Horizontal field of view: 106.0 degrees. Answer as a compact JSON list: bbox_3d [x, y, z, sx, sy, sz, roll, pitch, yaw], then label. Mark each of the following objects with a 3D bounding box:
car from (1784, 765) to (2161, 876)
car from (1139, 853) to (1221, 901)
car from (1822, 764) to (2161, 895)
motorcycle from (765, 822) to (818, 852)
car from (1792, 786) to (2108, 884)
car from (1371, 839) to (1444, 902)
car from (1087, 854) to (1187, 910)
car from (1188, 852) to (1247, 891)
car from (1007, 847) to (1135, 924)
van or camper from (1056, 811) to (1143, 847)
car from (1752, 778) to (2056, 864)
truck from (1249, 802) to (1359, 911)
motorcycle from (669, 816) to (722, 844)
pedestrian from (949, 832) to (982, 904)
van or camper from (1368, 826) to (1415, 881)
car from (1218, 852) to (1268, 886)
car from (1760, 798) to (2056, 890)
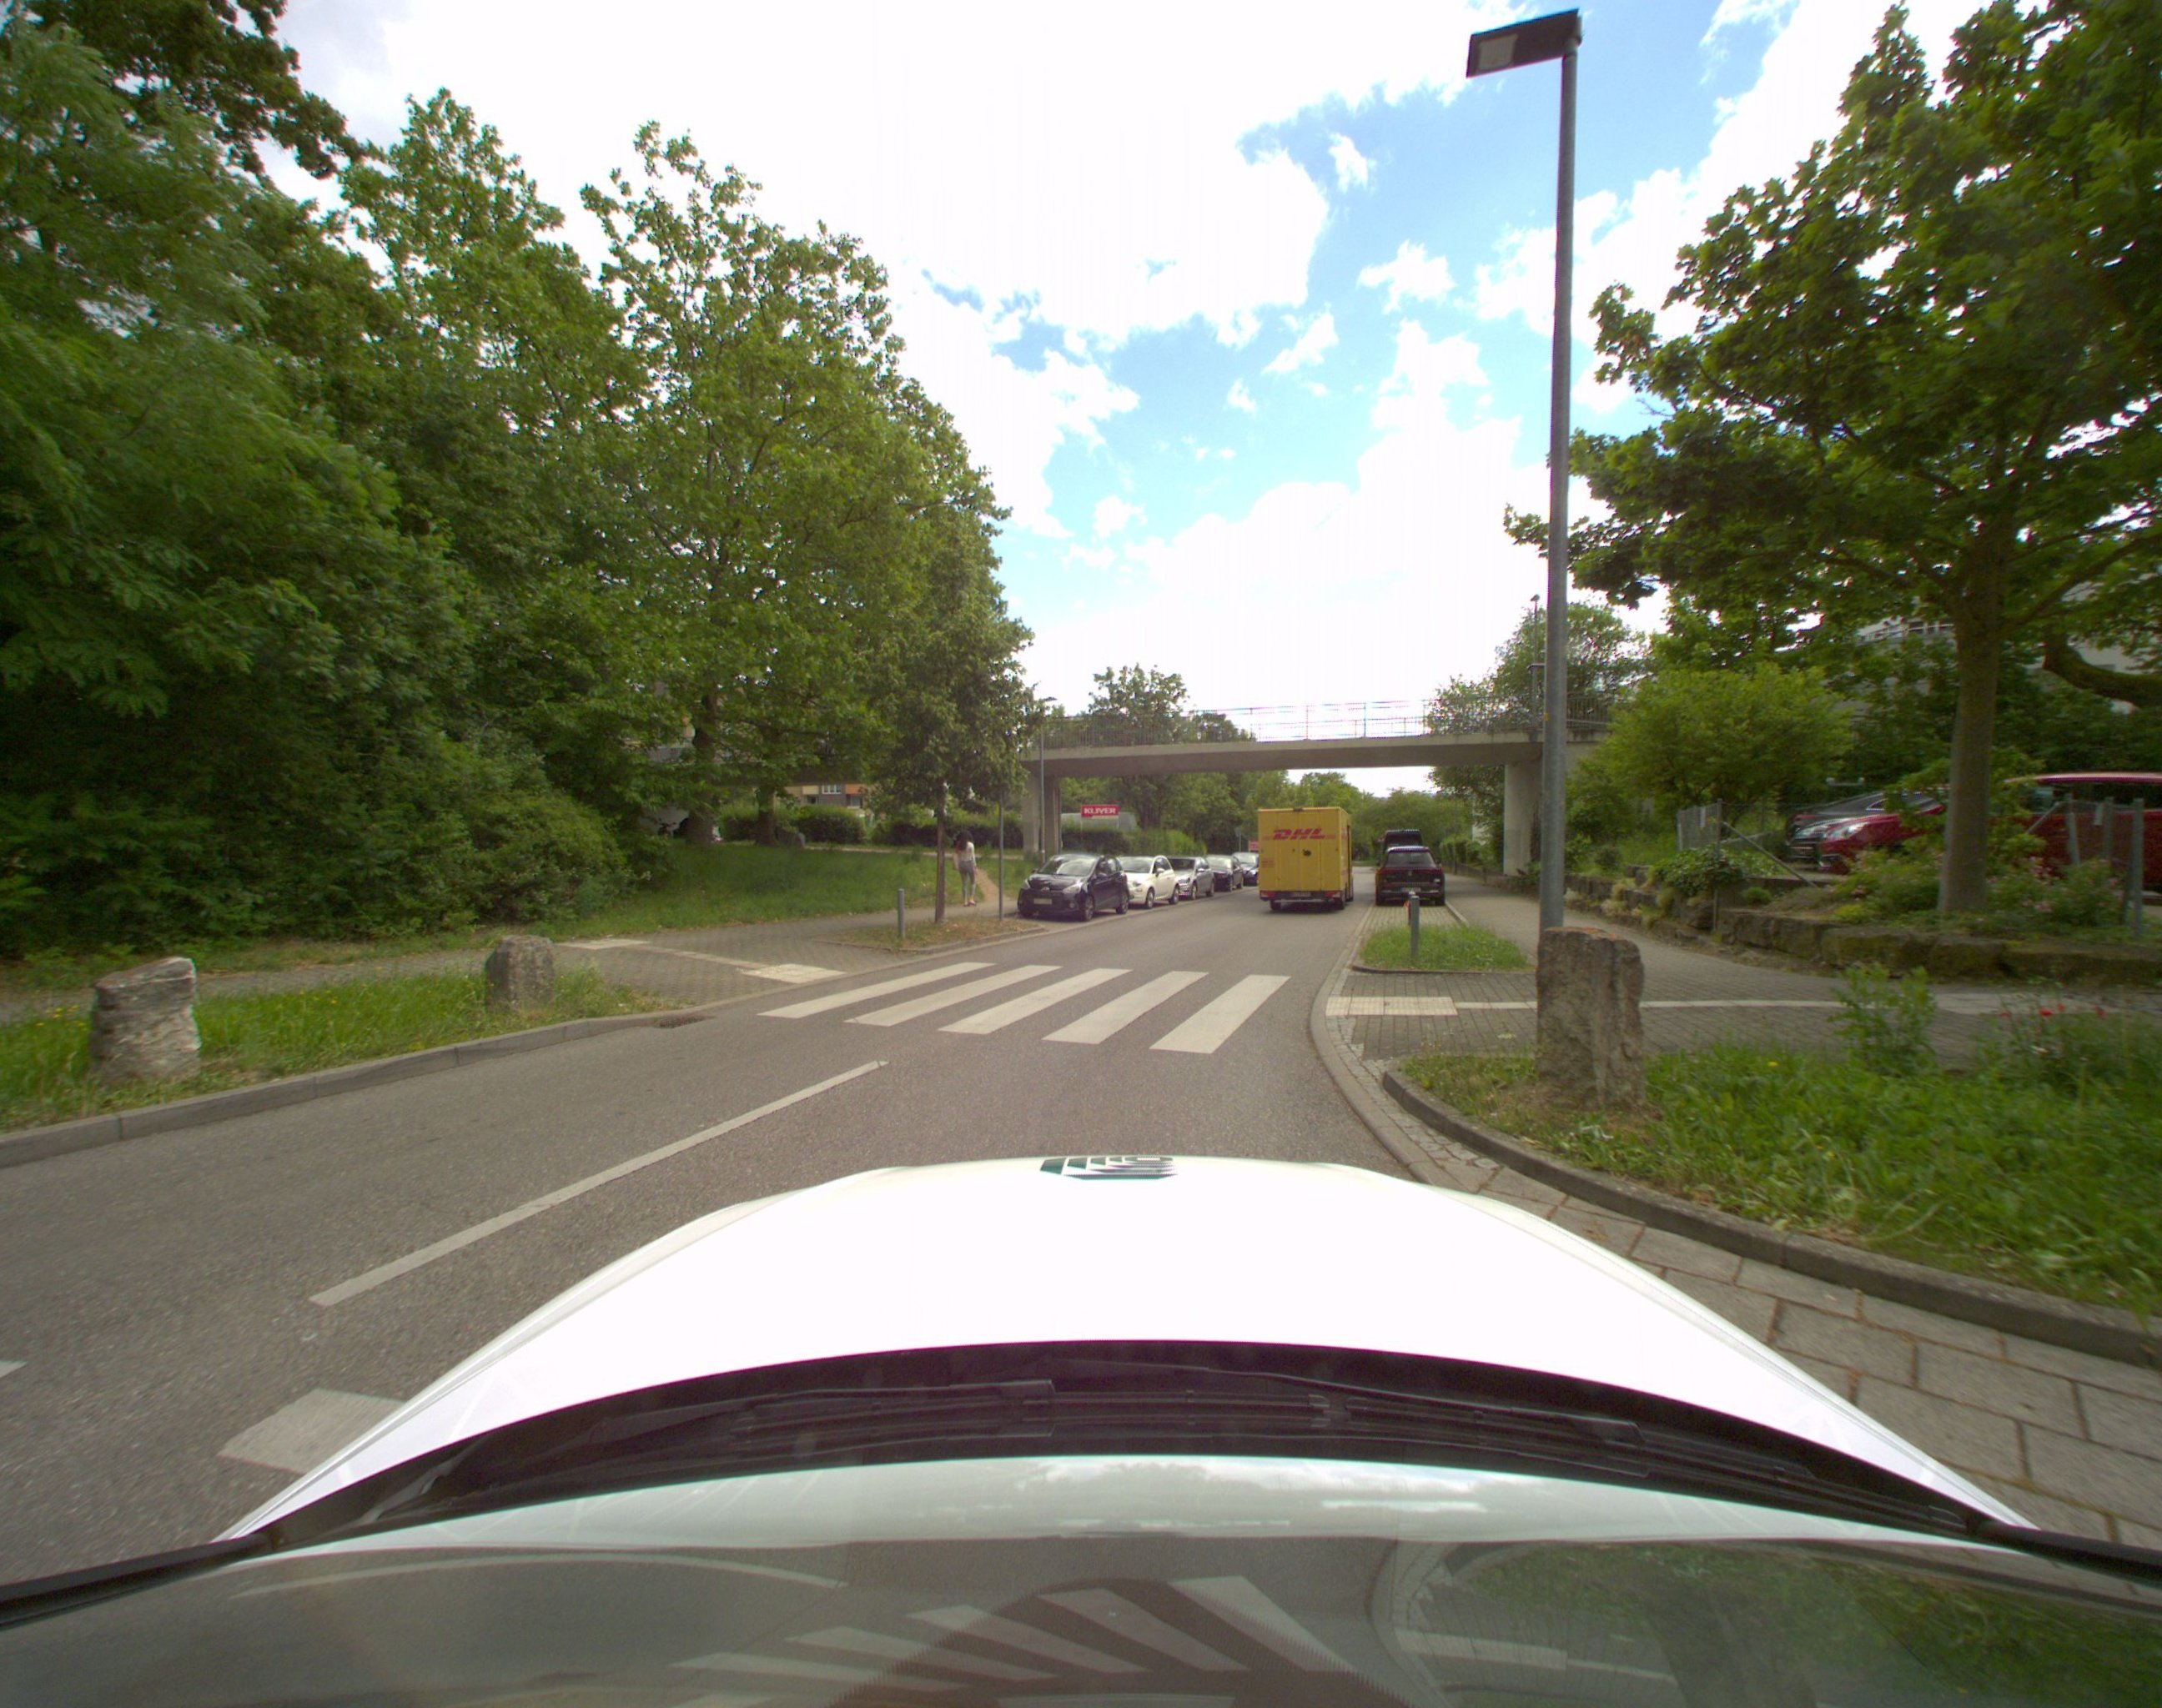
[{"bbox_3d":[13.217,-0.489,12.368,3.752,1.421,1.694,2,2,43],"label":"car"},{"bbox_3d":[3.550,0.729,28.545,1.868,1.427,4.022,1,2,22],"label":"car"},{"bbox_3d":[11.796,-0.311,10.242,3.616,1.439,1.694,2,2,43],"label":"car"},{"bbox_3d":[-12.830,-0.768,36.152,0.875,1.270,2.059,1,2,39],"label":"motorcycle"},{"bbox_3d":[14.957,-0.341,14.319,3.616,1.497,1.694,2,2,43],"label":"car"},{"bbox_3d":[9.543,0.551,24.024,1.798,1.679,4.391,0,-3,20],"label":"car"},{"bbox_3d":[1.701,0.740,23.781,1.868,1.460,3.565,1,1,22],"label":"car"},{"bbox_3d":[5.954,0.696,35.028,1.870,1.509,4.473,1,1,18],"label":"car"},{"bbox_3d":[-0.123,0.653,19.587,1.772,1.467,4.020,4,3,18],"label":"car"},{"bbox_3d":[1.126,-1.511,48.827,4.817,2.085,2.009,1,2,16],"label":"van or camper"},{"bbox_3d":[17.765,-0.712,17.956,4.501,1.668,1.957,2,2,41],"label":"car"},{"bbox_3d":[6.680,0.033,23.734,2.445,2.702,6.859,0,0,21],"label":"truck"},{"bbox_3d":[-17.690,-1.103,37.425,0.877,1.270,2.327,1,2,17],"label":"motorcycle"},{"bbox_3d":[-2.816,0.327,19.833,0.735,1.721,0.659,0,1,-4],"label":"pedestrian"},{"bbox_3d":[15.596,0.017,40.900,1.976,2.523,5.499,-2,-1,21],"label":"van or camper"},{"bbox_3d":[8.130,0.709,40.640,1.869,1.559,3.857,-2,0,20],"label":"car"},{"bbox_3d":[16.202,-0.239,16.305,3.949,1.613,1.957,2,2,41],"label":"car"}]
